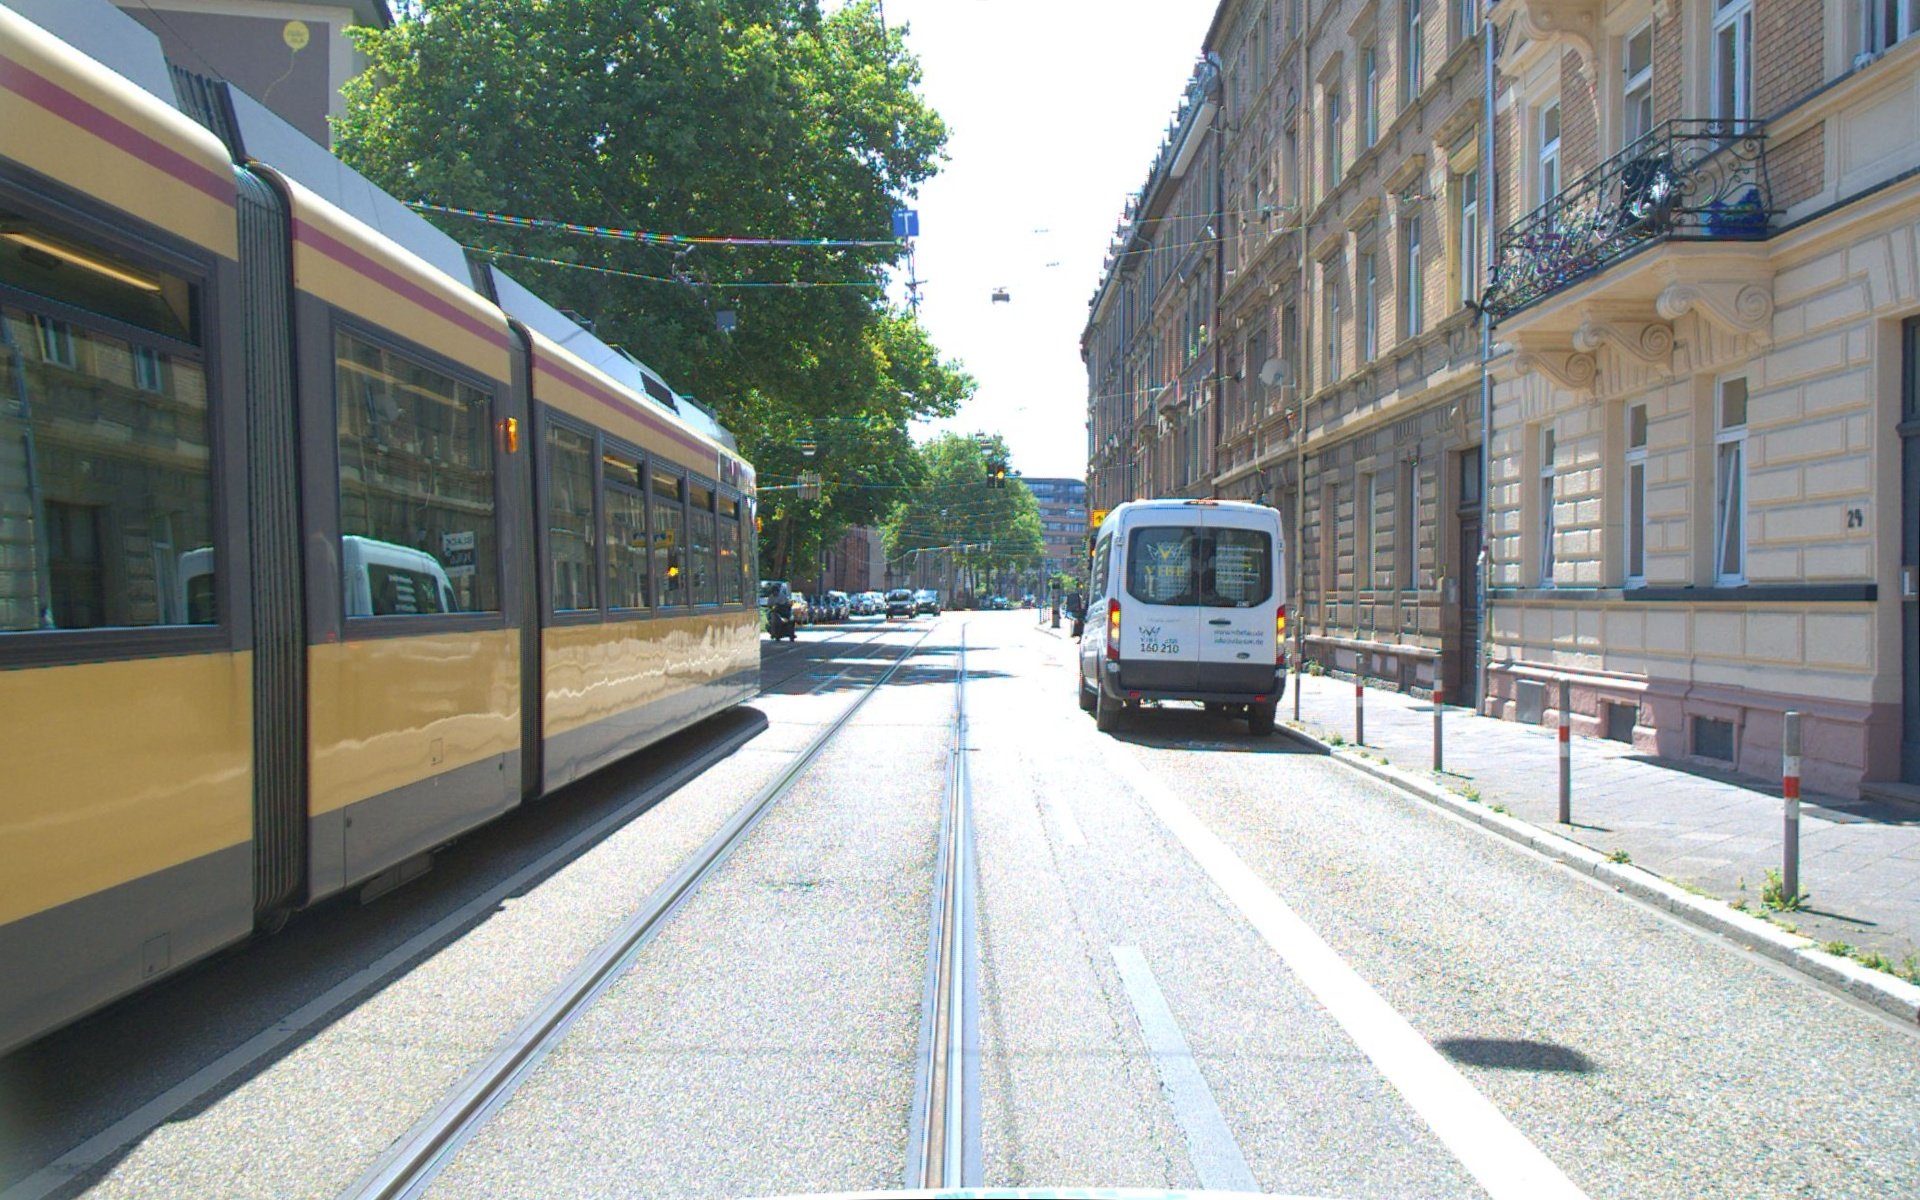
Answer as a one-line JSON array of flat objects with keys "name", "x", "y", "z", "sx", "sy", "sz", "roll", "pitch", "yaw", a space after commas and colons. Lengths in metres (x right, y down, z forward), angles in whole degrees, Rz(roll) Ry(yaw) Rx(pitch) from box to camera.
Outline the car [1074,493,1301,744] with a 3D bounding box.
[{"name": "car", "x": 2.538, "y": 0.181, "z": 19.800, "sx": 2.025, "sy": 2.544, "sz": 5.455, "roll": 1, "pitch": 0, "yaw": 1}]

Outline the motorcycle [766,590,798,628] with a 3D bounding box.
[{"name": "motorcycle", "x": -5.495, "y": 0.257, "z": 50.996, "sx": 0.930, "sy": 1.133, "sz": 1.600, "roll": 1, "pitch": 0, "yaw": -7}]

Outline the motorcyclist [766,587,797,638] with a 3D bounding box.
[{"name": "motorcyclist", "x": -5.524, "y": 0.385, "z": 51.265, "sx": 0.923, "sy": 1.559, "sz": 0.500, "roll": 1, "pitch": 0, "yaw": -8}]

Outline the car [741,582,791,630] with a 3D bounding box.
[{"name": "car", "x": -8.202, "y": 0.248, "z": 70.248, "sx": 1.764, "sy": 1.956, "sz": 3.998, "roll": 1, "pitch": 0, "yaw": -2}]

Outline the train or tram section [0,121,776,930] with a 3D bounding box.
[{"name": "train or tram section", "x": -3.771, "y": -0.365, "z": 14.192, "sx": 2.900, "sy": 3.643, "sz": 13.422, "roll": 0, "pitch": 0, "yaw": 0}]

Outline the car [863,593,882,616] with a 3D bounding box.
[{"name": "car", "x": -6.864, "y": 0.345, "z": 130.372, "sx": 1.425, "sy": 1.761, "sz": 3.192, "roll": 1, "pitch": 0, "yaw": -2}]

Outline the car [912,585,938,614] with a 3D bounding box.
[{"name": "car", "x": -2.422, "y": -0.045, "z": 114.227, "sx": 1.640, "sy": 1.892, "sz": 3.998, "roll": 1, "pitch": 0, "yaw": -3}]

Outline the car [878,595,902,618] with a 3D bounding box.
[{"name": "car", "x": -4.506, "y": 0.404, "z": 106.413, "sx": 1.497, "sy": 1.433, "sz": 3.488, "roll": 1, "pitch": 0, "yaw": -2}]

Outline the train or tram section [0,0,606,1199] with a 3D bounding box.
[{"name": "train or tram section", "x": -3.715, "y": -0.366, "z": 3.886, "sx": 2.900, "sy": 3.643, "sz": 13.422, "roll": 0, "pitch": 0, "yaw": 0}]

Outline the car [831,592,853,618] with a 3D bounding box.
[{"name": "car", "x": -8.518, "y": 0.350, "z": 119.755, "sx": 1.425, "sy": 1.761, "sz": 3.192, "roll": 1, "pitch": 0, "yaw": -2}]

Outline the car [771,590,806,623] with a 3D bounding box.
[{"name": "car", "x": -8.327, "y": 0.293, "z": 80.477, "sx": 1.425, "sy": 1.523, "sz": 3.661, "roll": 1, "pitch": 0, "yaw": -2}]

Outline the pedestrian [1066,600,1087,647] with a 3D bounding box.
[{"name": "pedestrian", "x": 3.920, "y": 0.796, "z": 55.680, "sx": 0.606, "sy": 1.566, "sz": 0.464, "roll": 1, "pitch": 0, "yaw": -2}]
